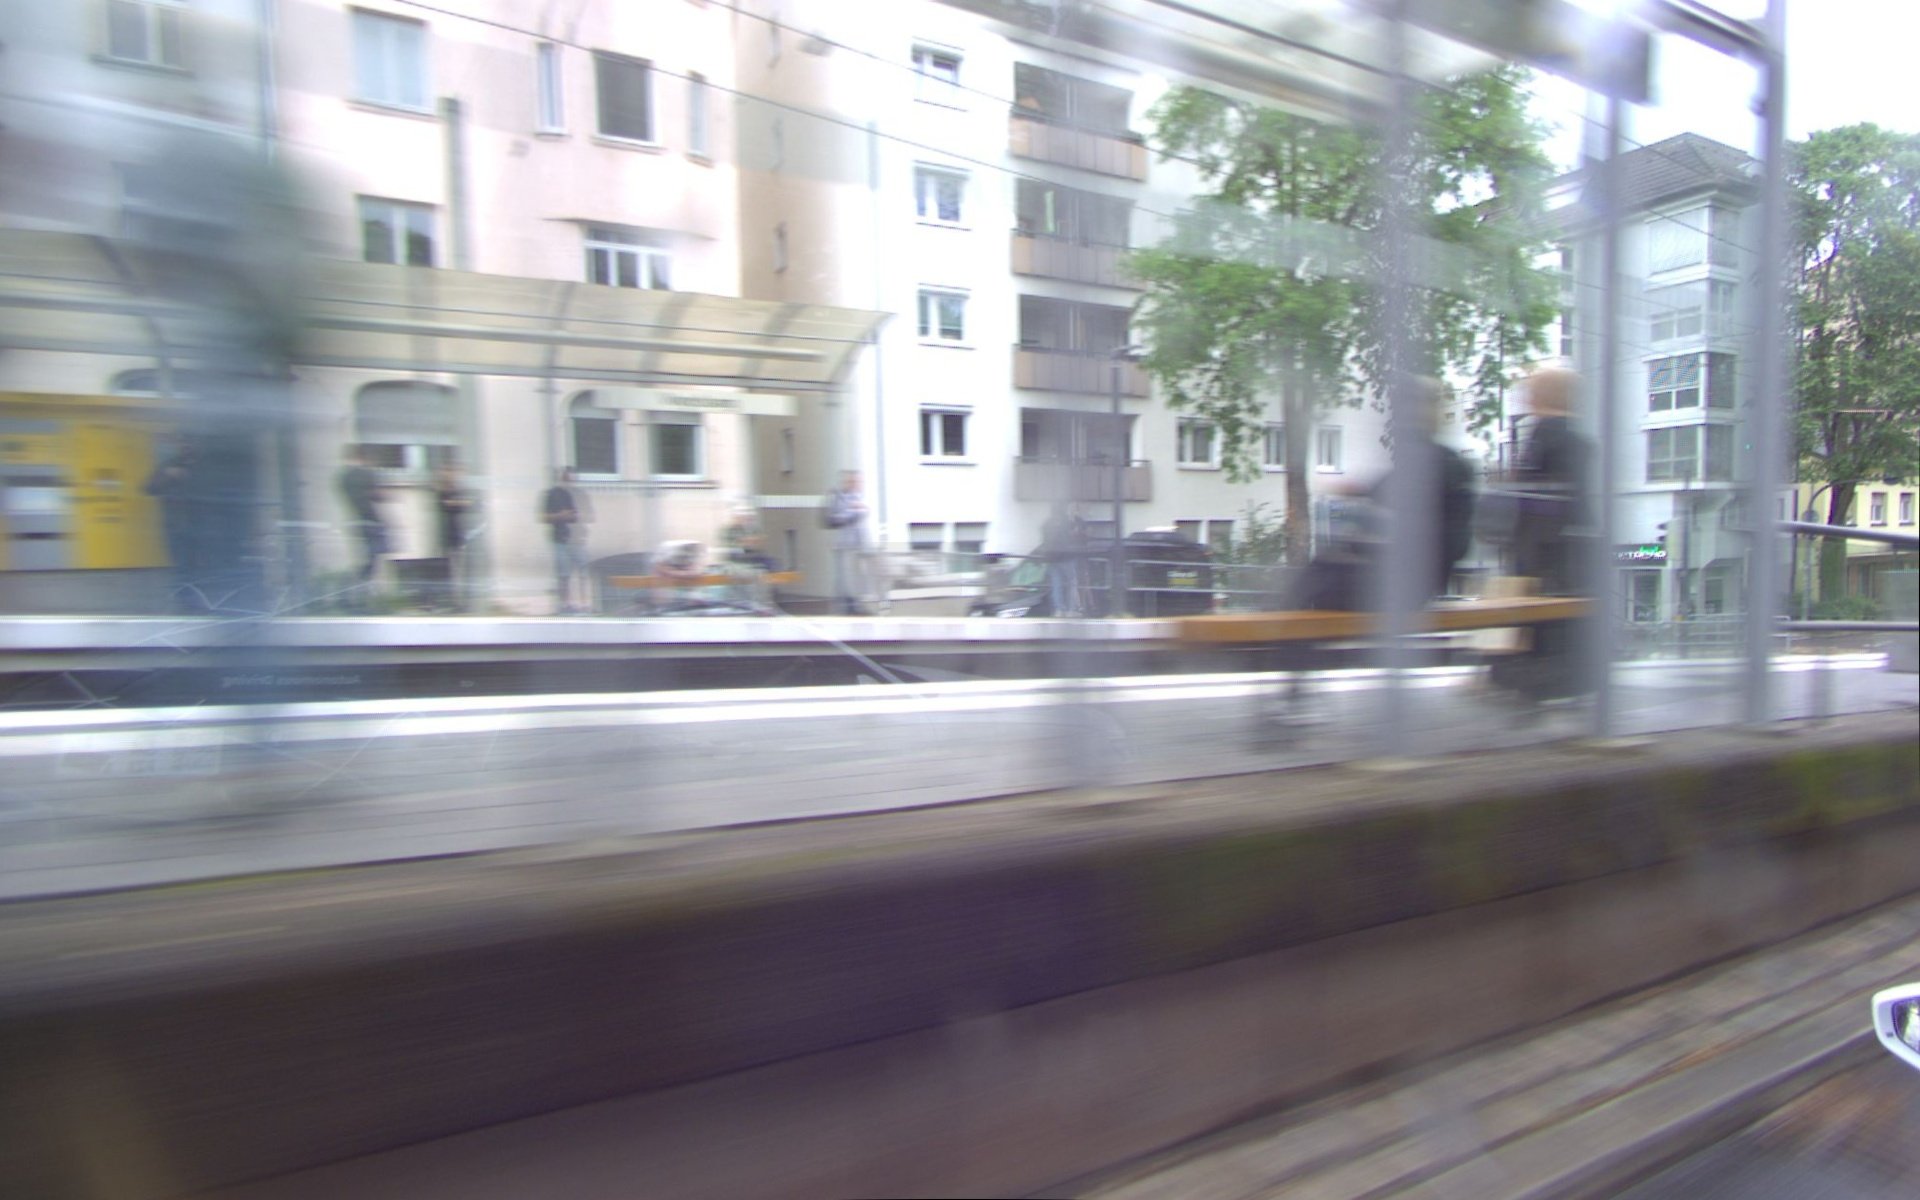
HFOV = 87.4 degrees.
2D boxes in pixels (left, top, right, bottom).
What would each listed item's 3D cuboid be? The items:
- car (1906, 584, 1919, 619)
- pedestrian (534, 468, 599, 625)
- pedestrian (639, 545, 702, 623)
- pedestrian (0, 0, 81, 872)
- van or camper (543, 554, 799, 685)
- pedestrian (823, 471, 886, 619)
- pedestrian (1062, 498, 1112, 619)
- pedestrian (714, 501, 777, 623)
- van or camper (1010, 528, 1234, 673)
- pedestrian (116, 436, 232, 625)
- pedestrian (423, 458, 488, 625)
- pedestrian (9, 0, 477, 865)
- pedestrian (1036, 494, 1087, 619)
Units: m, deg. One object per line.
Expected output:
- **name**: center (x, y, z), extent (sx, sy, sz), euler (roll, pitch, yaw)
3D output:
- **car**: center (44.620, 0.047, 45.136), extent (4.439, 1.536, 1.719), euler (-1, 1, -28)
- **pedestrian**: center (-4.398, -0.568, 11.215), extent (0.606, 1.688, 0.547), euler (1, -1, -29)
- **pedestrian**: center (-3.385, -0.175, 11.738), extent (0.606, 0.883, 0.547), euler (1, -1, -29)
- **pedestrian**: center (-2.050, -0.483, 1.722), extent (0.703, 1.890, 0.586), euler (0, 1, -30)
- **van or camper**: center (-5.030, 0.302, 17.515), extent (3.952, 2.040, 1.984), euler (0, 0, -30)
- **pedestrian**: center (-1.294, -0.649, 12.336), extent (0.606, 1.764, 0.547), euler (1, -1, -29)
- **pedestrian**: center (1.883, -0.594, 14.912), extent (0.556, 1.764, 0.480), euler (1, -1, -29)
- **pedestrian**: center (-2.596, -0.440, 12.149), extent (0.606, 1.432, 0.547), euler (1, -1, -29)
- **van or camper**: center (3.592, -0.002, 21.934), extent (4.813, 2.843, 1.981), euler (0, 0, -34)
- **pedestrian**: center (-7.307, -0.609, 9.373), extent (0.753, 1.688, 0.591), euler (1, -1, -29)
- **pedestrian**: center (-5.318, -0.582, 10.572), extent (0.584, 1.688, 0.591), euler (1, -1, -29)
- **pedestrian**: center (-1.430, -0.508, 2.116), extent (0.703, 1.906, 0.586), euler (0, 1, -30)
- **pedestrian**: center (1.462, -0.603, 14.464), extent (0.556, 1.764, 0.480), euler (1, -1, -29)
